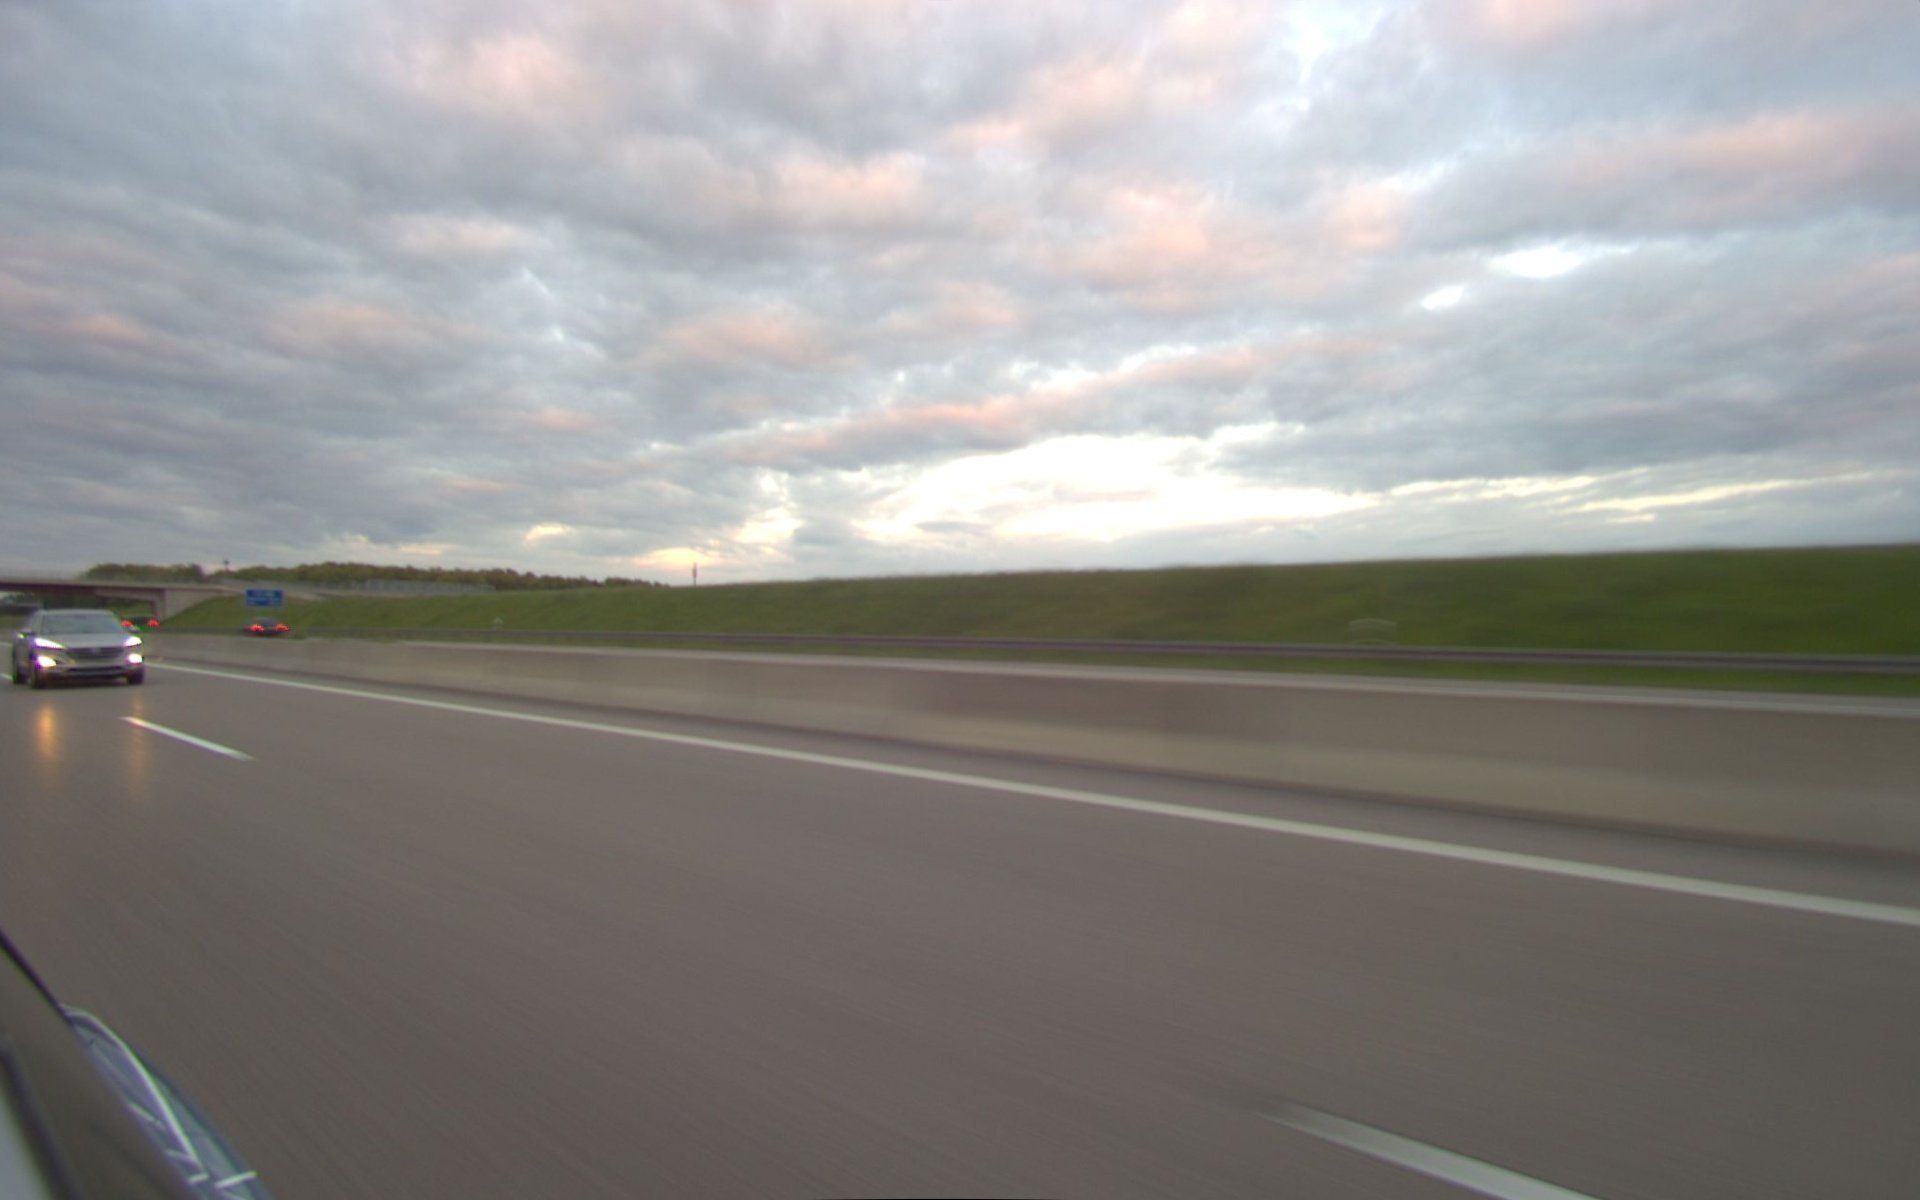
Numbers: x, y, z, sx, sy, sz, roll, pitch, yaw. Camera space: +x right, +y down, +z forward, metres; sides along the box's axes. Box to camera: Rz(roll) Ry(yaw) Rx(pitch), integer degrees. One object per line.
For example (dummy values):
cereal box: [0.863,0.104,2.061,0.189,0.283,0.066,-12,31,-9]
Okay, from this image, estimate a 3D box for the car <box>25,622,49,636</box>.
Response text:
car: [-134.520,4.271,147.491,5.088,1.951,1.973,-2,-1,41]

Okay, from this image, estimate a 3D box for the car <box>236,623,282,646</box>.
car: [-49.257,2.434,71.080,4.424,1.529,1.613,-2,-1,41]

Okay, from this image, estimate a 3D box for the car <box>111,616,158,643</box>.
car: [-65.790,2.349,80.641,5.734,2.029,1.982,-2,-2,41]

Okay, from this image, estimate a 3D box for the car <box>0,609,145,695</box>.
car: [-19.864,1.068,22.523,5.510,1.705,1.833,-1,-1,42]
